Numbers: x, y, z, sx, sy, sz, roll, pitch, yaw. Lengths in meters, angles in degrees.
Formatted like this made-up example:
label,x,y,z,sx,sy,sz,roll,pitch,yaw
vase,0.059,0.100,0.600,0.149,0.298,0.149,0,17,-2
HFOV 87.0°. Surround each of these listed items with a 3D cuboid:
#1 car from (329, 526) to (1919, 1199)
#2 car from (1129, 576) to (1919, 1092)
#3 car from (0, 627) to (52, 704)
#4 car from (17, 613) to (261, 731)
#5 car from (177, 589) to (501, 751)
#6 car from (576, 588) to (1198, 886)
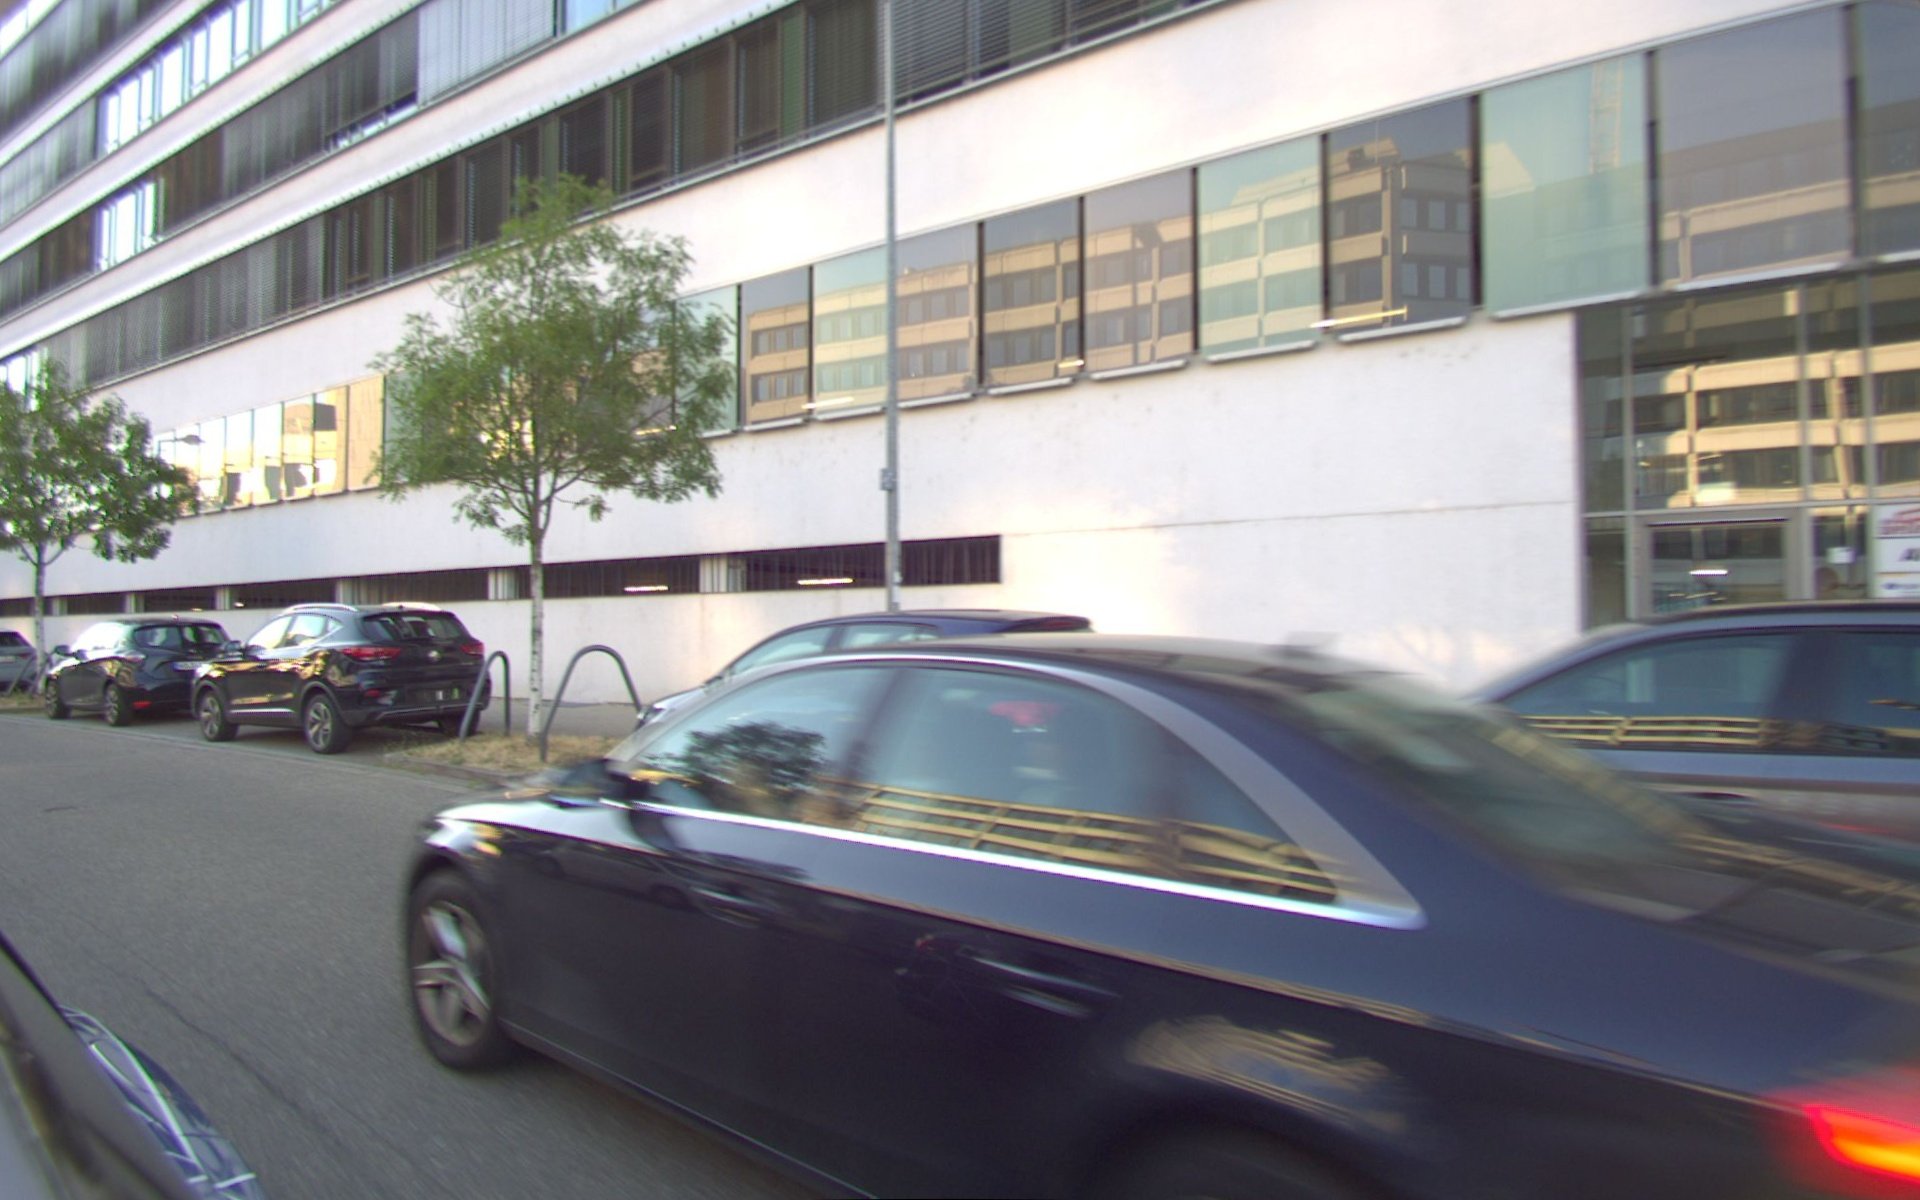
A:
label,x,y,z,sx,sy,sz,roll,pitch,yaw
car,0.077,0.704,2.847,4.510,1.433,1.761,-2,-2,39
car,3.100,0.663,3.688,4.692,1.468,1.704,-3,-1,42
car,-20.091,1.339,20.188,3.884,1.450,1.745,-2,-1,29
car,-12.739,1.062,15.644,4.030,1.573,1.742,-2,-1,33
car,-7.545,0.782,12.214,3.935,1.666,1.743,-2,-1,32
car,-0.713,0.741,7.033,4.266,1.468,1.706,-2,-1,39
